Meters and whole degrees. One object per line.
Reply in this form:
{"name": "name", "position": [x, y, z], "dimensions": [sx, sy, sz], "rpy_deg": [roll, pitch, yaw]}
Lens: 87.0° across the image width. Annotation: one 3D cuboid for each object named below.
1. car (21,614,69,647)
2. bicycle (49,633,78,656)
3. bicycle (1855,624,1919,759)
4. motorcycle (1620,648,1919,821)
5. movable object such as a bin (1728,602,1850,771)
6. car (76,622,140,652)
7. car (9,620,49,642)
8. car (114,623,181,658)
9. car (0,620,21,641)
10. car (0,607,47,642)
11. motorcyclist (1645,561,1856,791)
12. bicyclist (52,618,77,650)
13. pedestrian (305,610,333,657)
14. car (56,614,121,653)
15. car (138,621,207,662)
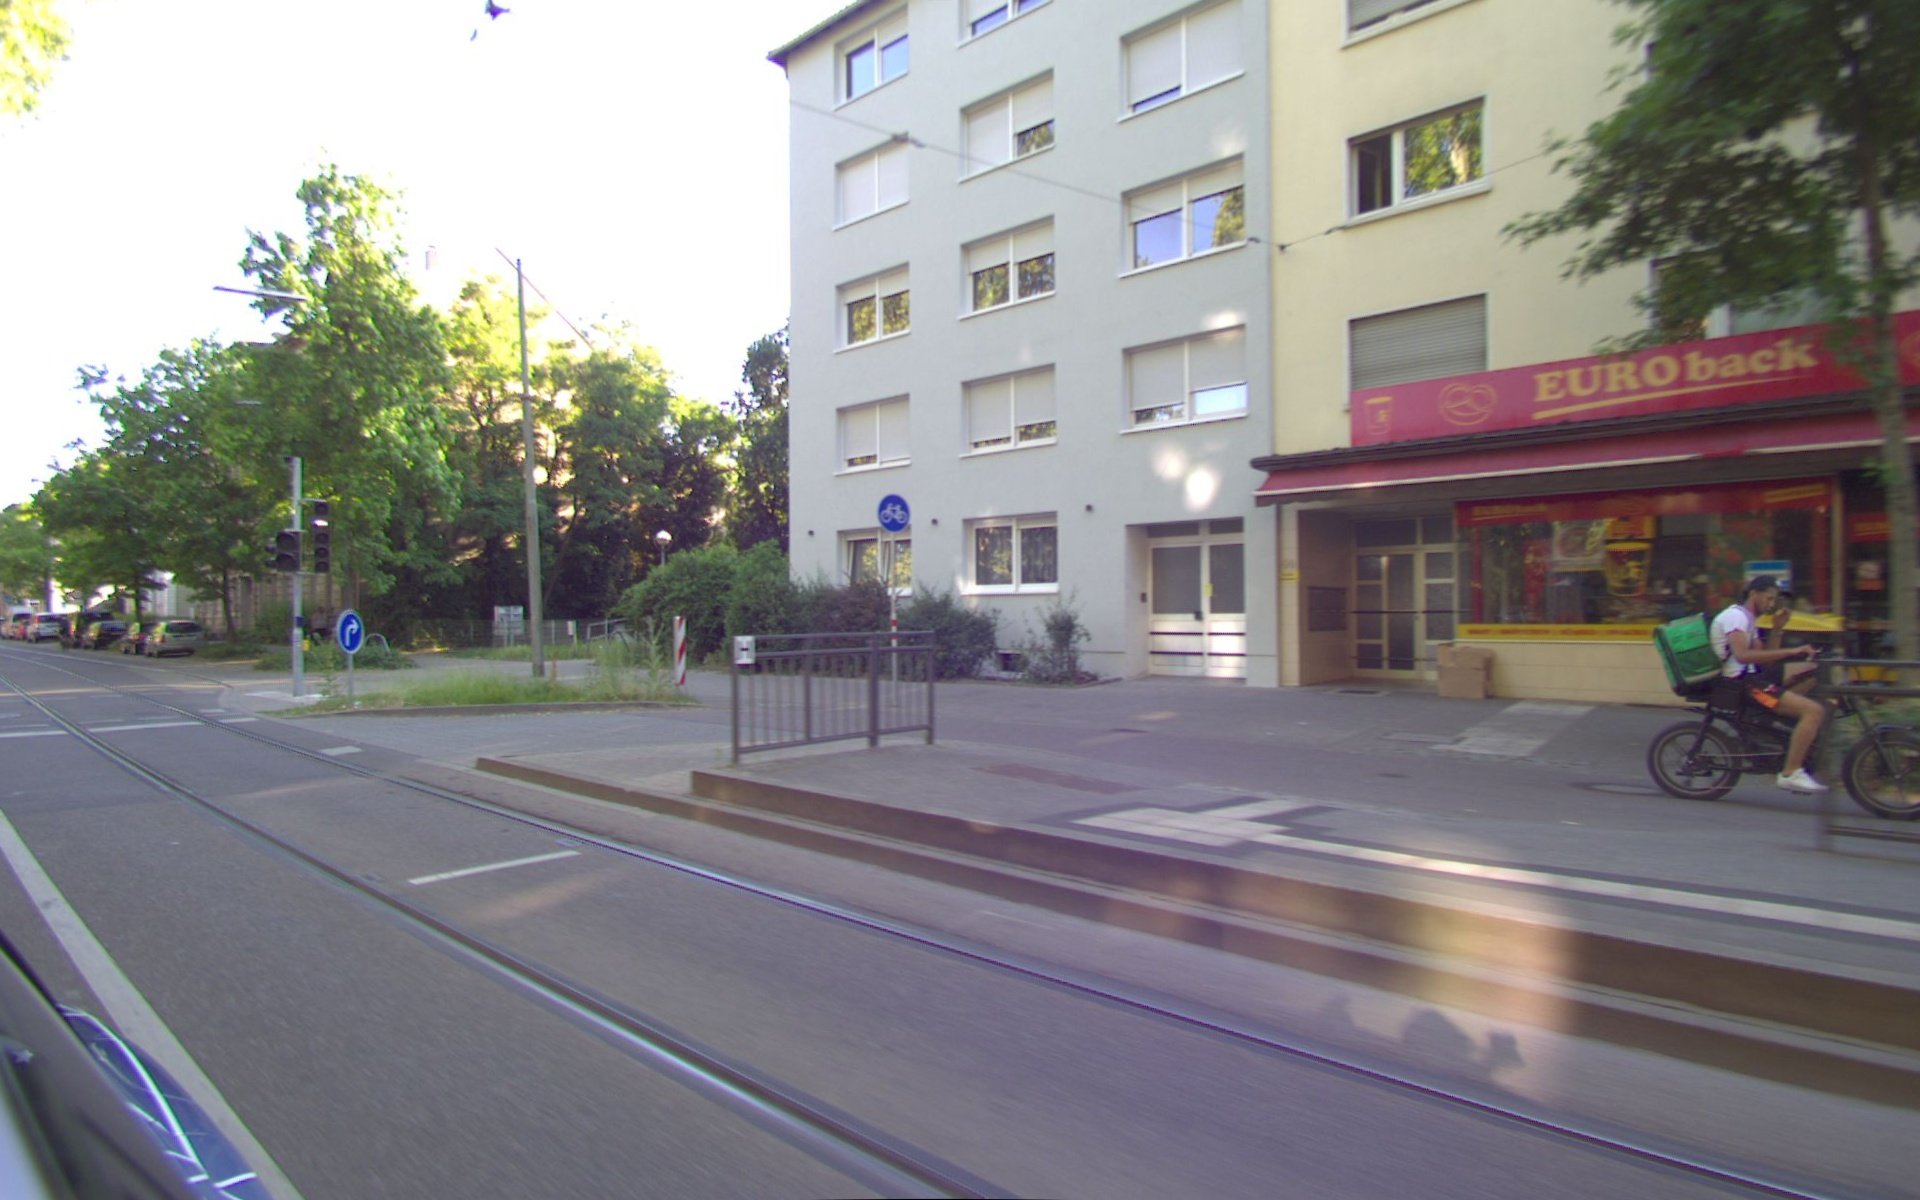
{"name": "car", "position": [-58.783, 1.947, 64.981], "dimensions": [4.987, 2.004, 1.824], "rpy_deg": [-1, -2, 42]}
{"name": "bicycle", "position": [-42.257, 2.107, 47.715], "dimensions": [2.099, 0.994, 0.634], "rpy_deg": [-1, -8, 41]}
{"name": "bicycle", "position": [8.765, 0.781, 8.524], "dimensions": [1.798, 1.116, 0.494], "rpy_deg": [-1, 2, 39]}
{"name": "motorcycle", "position": [5.648, 0.862, 6.871], "dimensions": [1.877, 1.040, 0.589], "rpy_deg": [-1, -3, 42]}
{"name": "movable object such as a bin", "position": [7.475, 0.733, 9.175], "dimensions": [0.782, 1.358, 1.159], "rpy_deg": [-1, 2, 37]}
{"name": "car", "position": [-43.973, 1.892, 52.200], "dimensions": [4.267, 1.469, 1.834], "rpy_deg": [-1, -2, 40]}
{"name": "car", "position": [-65.914, 2.180, 71.656], "dimensions": [3.705, 1.551, 1.667], "rpy_deg": [-1, -2, 41]}
{"name": "car", "position": [-36.134, 1.789, 44.977], "dimensions": [3.947, 1.456, 1.641], "rpy_deg": [-1, -1, 41]}
{"name": "car", "position": [-76.769, 2.443, 81.146], "dimensions": [4.262, 1.703, 1.970], "rpy_deg": [-1, -2, 44]}
{"name": "car", "position": [-70.005, 1.826, 75.322], "dimensions": [5.339, 2.527, 2.281], "rpy_deg": [-1, -2, 40]}
{"name": "motorcyclist", "position": [5.487, 0.503, 7.051], "dimensions": [1.103, 1.460, 0.589], "rpy_deg": [-1, -3, 42]}
{"name": "bicyclist", "position": [-42.453, 1.616, 47.969], "dimensions": [0.836, 1.466, 0.634], "rpy_deg": [-1, -8, 40]}
{"name": "pedestrian", "position": [-25.956, 1.351, 40.987], "dimensions": [0.728, 1.861, 0.734], "rpy_deg": [-2, 0, 40]}
{"name": "car", "position": [-47.759, 1.826, 55.421], "dimensions": [4.831, 2.029, 1.973], "rpy_deg": [-1, -2, 40]}
{"name": "car", "position": [-32.570, 1.676, 41.810], "dimensions": [4.537, 1.562, 1.680], "rpy_deg": [-2, -1, 44]}
